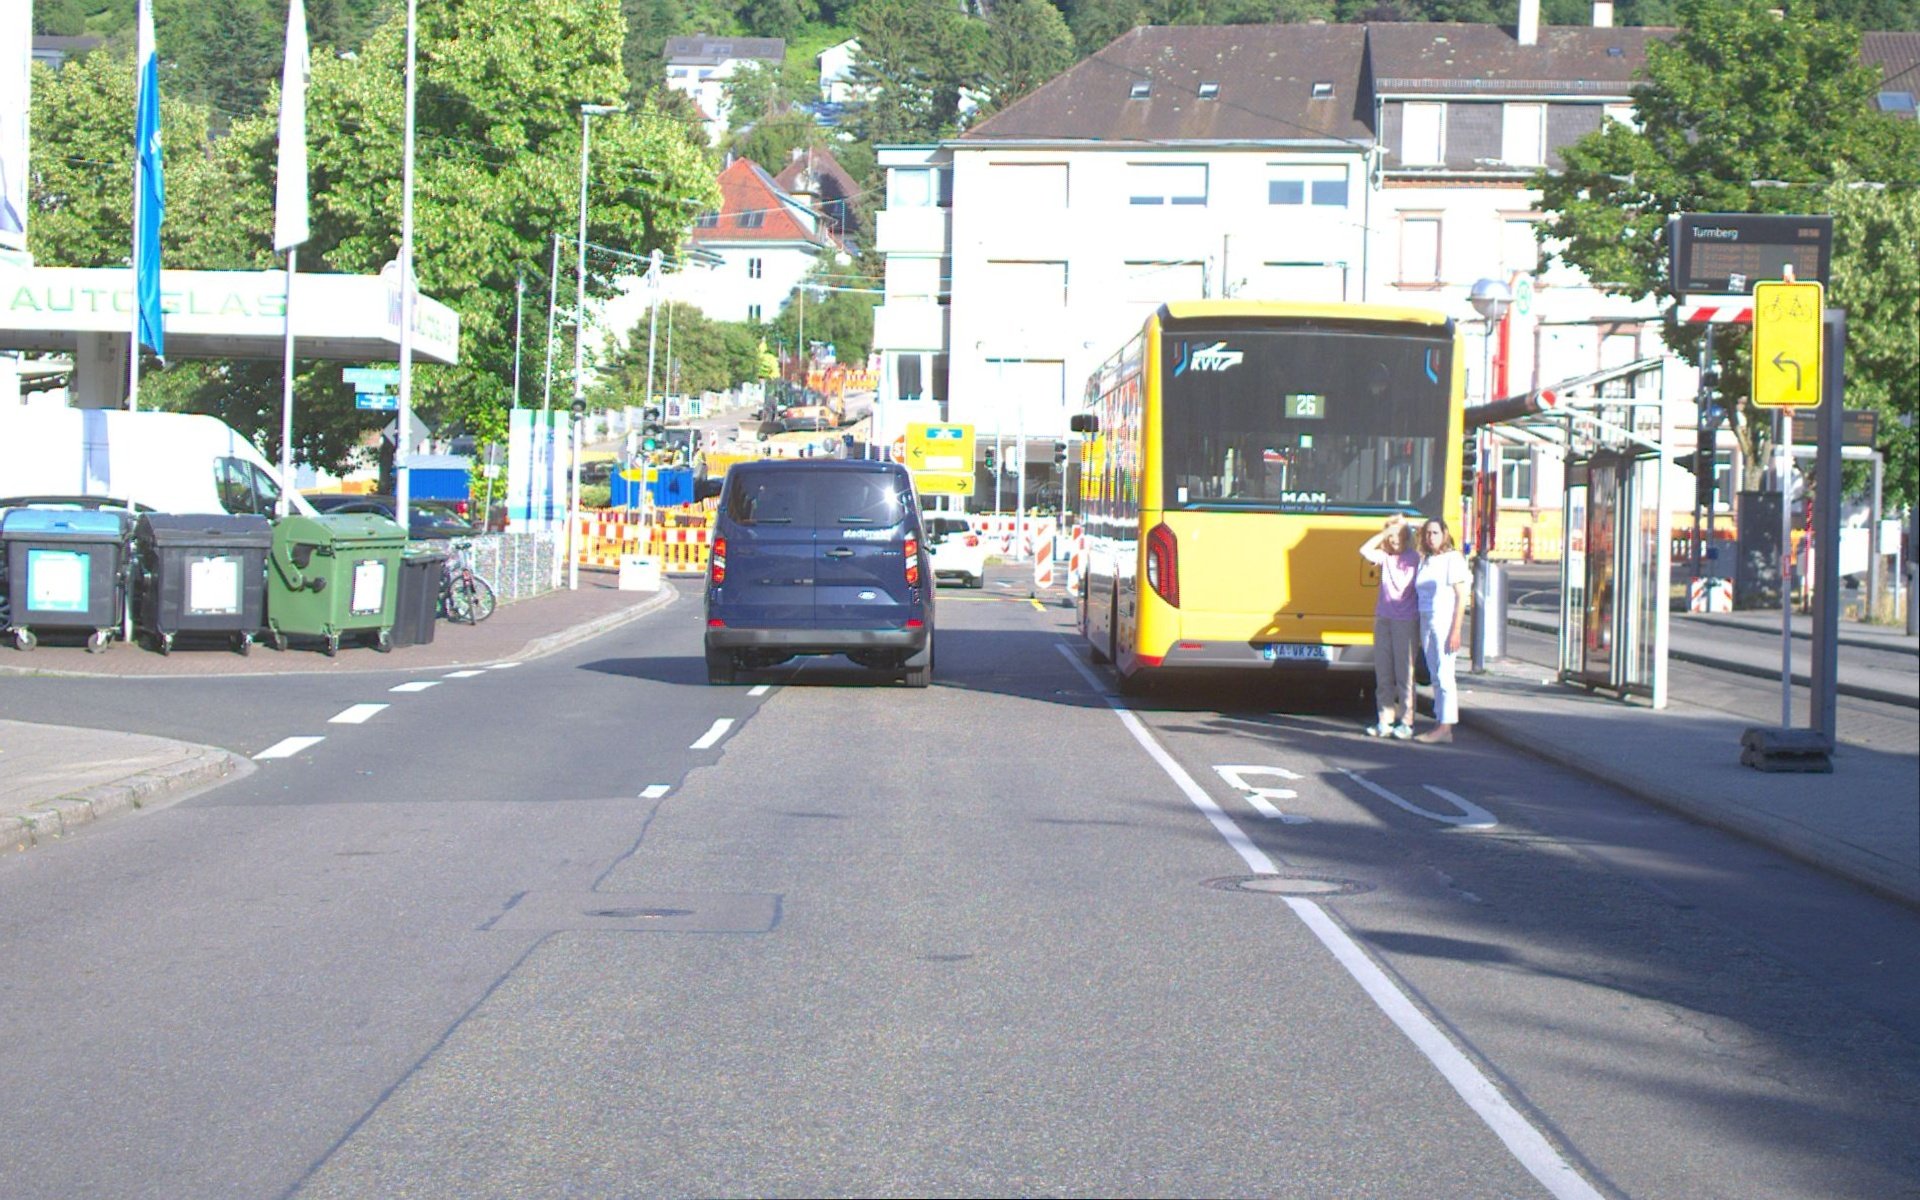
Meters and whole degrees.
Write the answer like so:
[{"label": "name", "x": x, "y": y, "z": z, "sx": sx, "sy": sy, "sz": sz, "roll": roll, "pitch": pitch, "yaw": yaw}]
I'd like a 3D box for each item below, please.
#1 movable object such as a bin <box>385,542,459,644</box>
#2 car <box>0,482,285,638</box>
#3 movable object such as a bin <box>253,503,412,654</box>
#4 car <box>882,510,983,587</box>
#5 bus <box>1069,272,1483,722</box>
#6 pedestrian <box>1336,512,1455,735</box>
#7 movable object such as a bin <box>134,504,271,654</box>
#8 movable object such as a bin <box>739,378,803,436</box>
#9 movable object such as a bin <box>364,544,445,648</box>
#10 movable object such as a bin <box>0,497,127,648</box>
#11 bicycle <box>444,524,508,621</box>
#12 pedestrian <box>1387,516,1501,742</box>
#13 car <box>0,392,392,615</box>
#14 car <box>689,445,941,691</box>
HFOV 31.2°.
[{"label": "movable object such as a bin", "x": -5.944, "y": -0.080, "z": 37.987, "sx": 0.640, "sy": 1.065, "sz": 0.580, "roll": 2, "pitch": 5, "yaw": 12}, {"label": "car", "x": -9.566, "y": -0.468, "z": 37.993, "sx": 3.985, "sy": 1.563, "sz": 1.773, "roll": 2, "pitch": 2, "yaw": -14}, {"label": "movable object such as a bin", "x": -6.645, "y": -0.245, "z": 36.450, "sx": 1.056, "sy": 1.477, "sz": 1.310, "roll": 4, "pitch": 5, "yaw": 28}, {"label": "car", "x": -0.488, "y": -0.991, "z": 65.289, "sx": 1.794, "sy": 1.405, "sz": 4.000, "roll": 1, "pitch": 1, "yaw": 1}, {"label": "bus", "x": 2.627, "y": -0.970, "z": 32.517, "sx": 2.688, "sy": 3.404, "sz": 12.019, "roll": 1, "pitch": 2, "yaw": 0}, {"label": "pedestrian", "x": 3.191, "y": 0.164, "z": 25.205, "sx": 0.544, "sy": 1.607, "sz": 0.636, "roll": 0, "pitch": 1, "yaw": -37}, {"label": "movable object such as a bin", "x": -7.811, "y": -0.227, "z": 35.453, "sx": 1.218, "sy": 1.477, "sz": 0.704, "roll": -1, "pitch": 5, "yaw": -29}, {"label": "movable object such as a bin", "x": -9.247, "y": -9.441, "z": 168.611, "sx": 2.192, "sy": 2.681, "sz": 3.998, "roll": 2, "pitch": 2, "yaw": 11}, {"label": "movable object such as a bin", "x": -6.038, "y": -0.045, "z": 37.370, "sx": 0.660, "sy": 1.059, "sz": 0.585, "roll": 4, "pitch": 4, "yaw": 12}, {"label": "movable object such as a bin", "x": -9.189, "y": -0.289, "z": 35.139, "sx": 1.218, "sy": 1.477, "sz": 0.704, "roll": 1, "pitch": 4, "yaw": -5}, {"label": "bicycle", "x": -6.102, "y": -0.360, "z": 43.284, "sx": 0.723, "sy": 1.174, "sz": 1.781, "roll": 1, "pitch": 1, "yaw": -9}, {"label": "pedestrian", "x": 3.505, "y": 0.203, "z": 24.906, "sx": 0.544, "sy": 1.607, "sz": 0.549, "roll": 0, "pitch": 1, "yaw": -37}, {"label": "car", "x": -9.536, "y": -1.141, "z": 40.953, "sx": 5.054, "sy": 2.461, "sz": 2.109, "roll": 1, "pitch": 1, "yaw": -22}, {"label": "car", "x": -1.248, "y": -0.320, "z": 31.691, "sx": 2.062, "sy": 2.007, "sz": 5.000, "roll": 2, "pitch": 1, "yaw": 0}]
